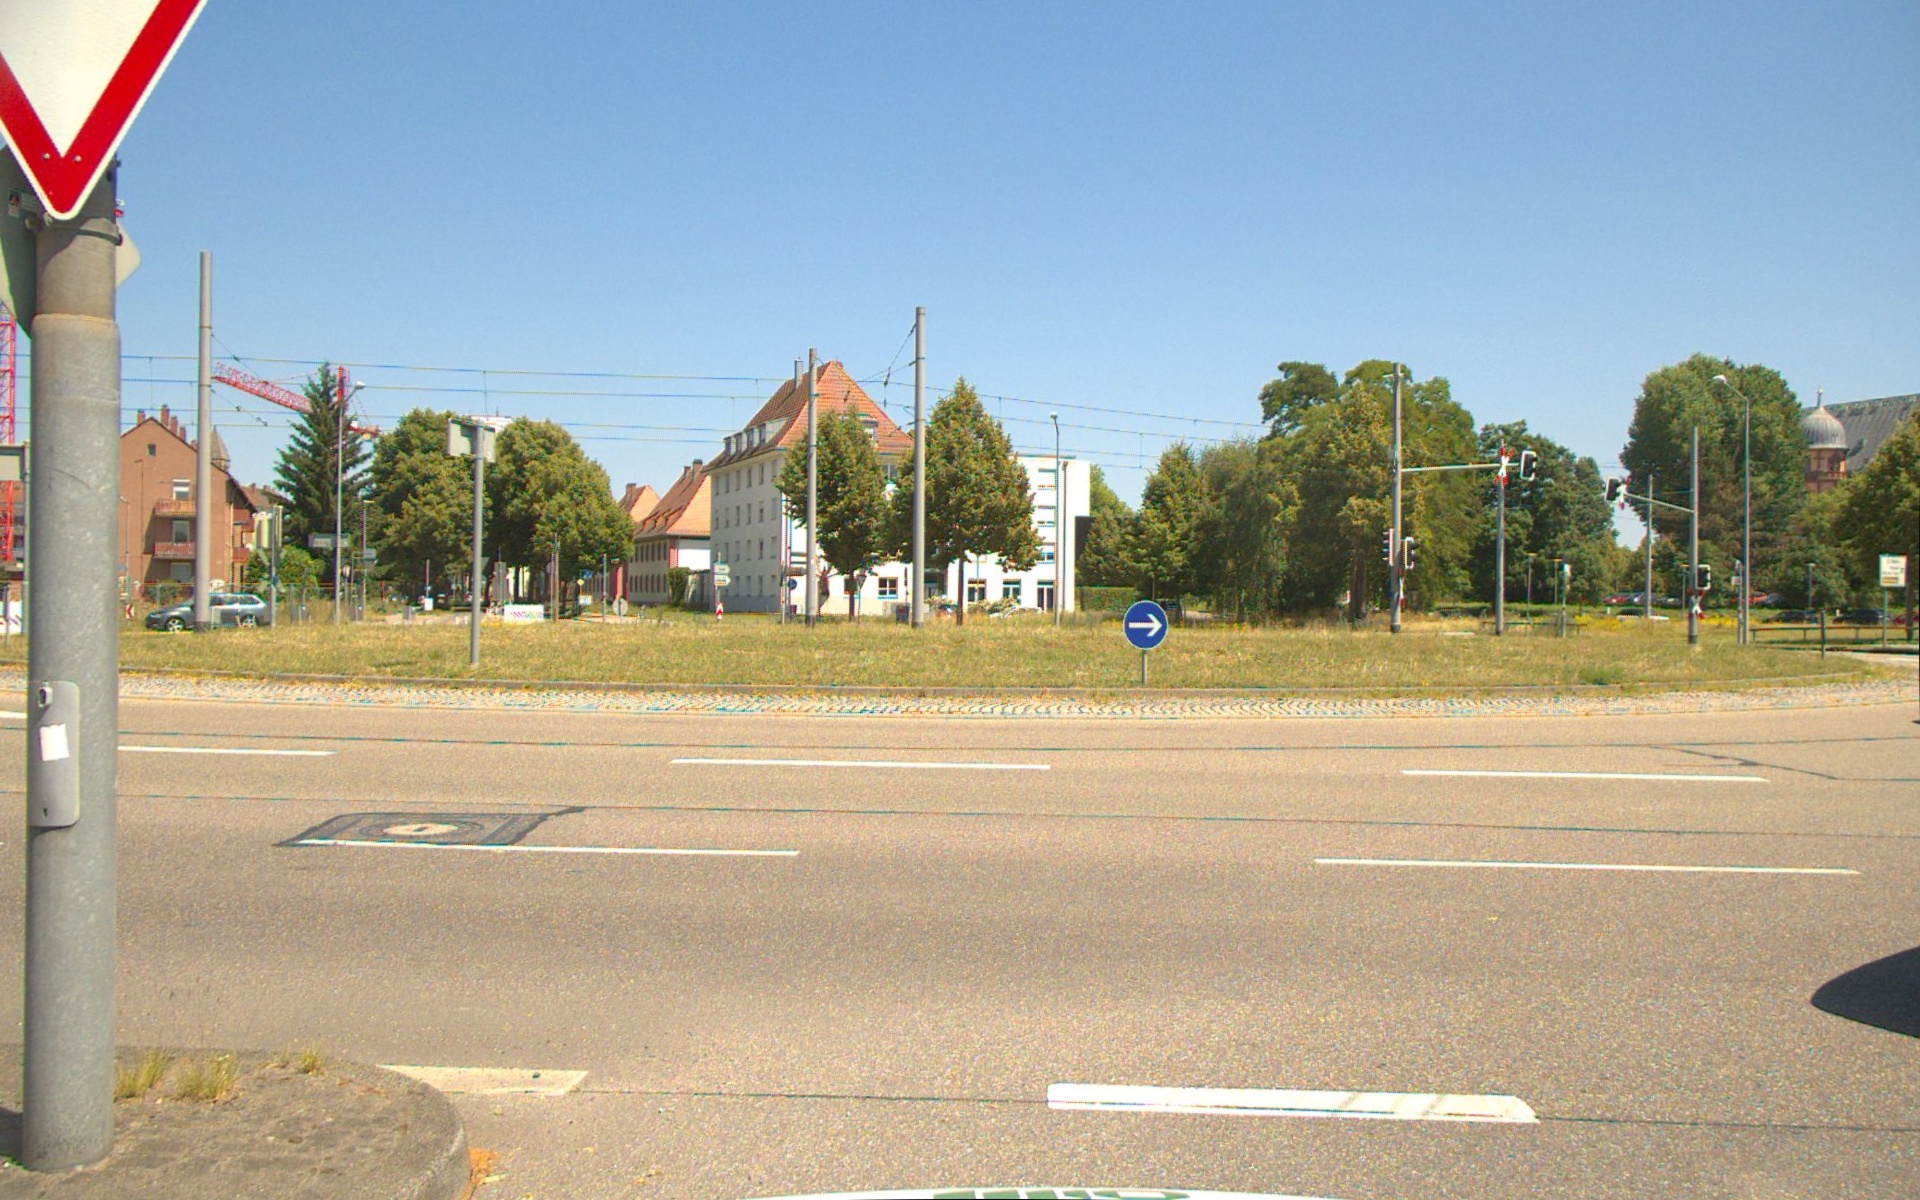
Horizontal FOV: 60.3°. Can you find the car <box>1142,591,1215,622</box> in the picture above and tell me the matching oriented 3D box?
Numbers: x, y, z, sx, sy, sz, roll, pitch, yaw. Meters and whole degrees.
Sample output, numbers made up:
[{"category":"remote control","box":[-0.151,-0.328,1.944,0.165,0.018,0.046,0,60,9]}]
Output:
[{"category":"car","box":[13.242,0.394,100.433,3.921,1.713,1.992,2,-1,-15]}]

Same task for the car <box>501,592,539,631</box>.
[{"category":"car","box":[-24.743,0.643,93.006,1.960,2.049,3.984,2,-1,-15]}]

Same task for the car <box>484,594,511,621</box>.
[{"category":"car","box":[-37.055,0.621,132.702,1.960,2.049,3.984,2,-1,-15]}]

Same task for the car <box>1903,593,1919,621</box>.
[{"category":"car","box":[74.729,0.583,126.857,3.921,2.049,1.992,1,-1,37]}]

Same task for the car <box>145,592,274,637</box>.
[{"category":"car","box":[-26.996,0.517,59.541,3.950,1.490,1.977,2,-1,-34]}]

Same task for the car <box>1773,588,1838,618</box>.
[{"category":"car","box":[61.501,0.216,120.342,3.921,2.049,1.992,1,-1,37]}]

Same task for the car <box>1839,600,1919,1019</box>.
[{"category":"car","box":[5.325,0.759,6.473,3.955,1.465,1.780,0,1,-36]}]

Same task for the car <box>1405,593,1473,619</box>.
[{"category":"car","box":[31.690,0.410,109.429,3.917,1.601,1.994,2,-1,34]}]

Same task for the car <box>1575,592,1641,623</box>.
[{"category":"car","box":[45.671,0.551,116.640,3.921,2.049,1.992,1,-1,37]}]

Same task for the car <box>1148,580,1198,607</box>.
[{"category":"car","box":[17.909,-0.531,138.966,3.902,2.049,2.001,2,-1,12]}]

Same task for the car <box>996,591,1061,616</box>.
[{"category":"car","box":[4.423,0.240,106.450,3.824,1.445,1.709,2,-1,-15]}]
